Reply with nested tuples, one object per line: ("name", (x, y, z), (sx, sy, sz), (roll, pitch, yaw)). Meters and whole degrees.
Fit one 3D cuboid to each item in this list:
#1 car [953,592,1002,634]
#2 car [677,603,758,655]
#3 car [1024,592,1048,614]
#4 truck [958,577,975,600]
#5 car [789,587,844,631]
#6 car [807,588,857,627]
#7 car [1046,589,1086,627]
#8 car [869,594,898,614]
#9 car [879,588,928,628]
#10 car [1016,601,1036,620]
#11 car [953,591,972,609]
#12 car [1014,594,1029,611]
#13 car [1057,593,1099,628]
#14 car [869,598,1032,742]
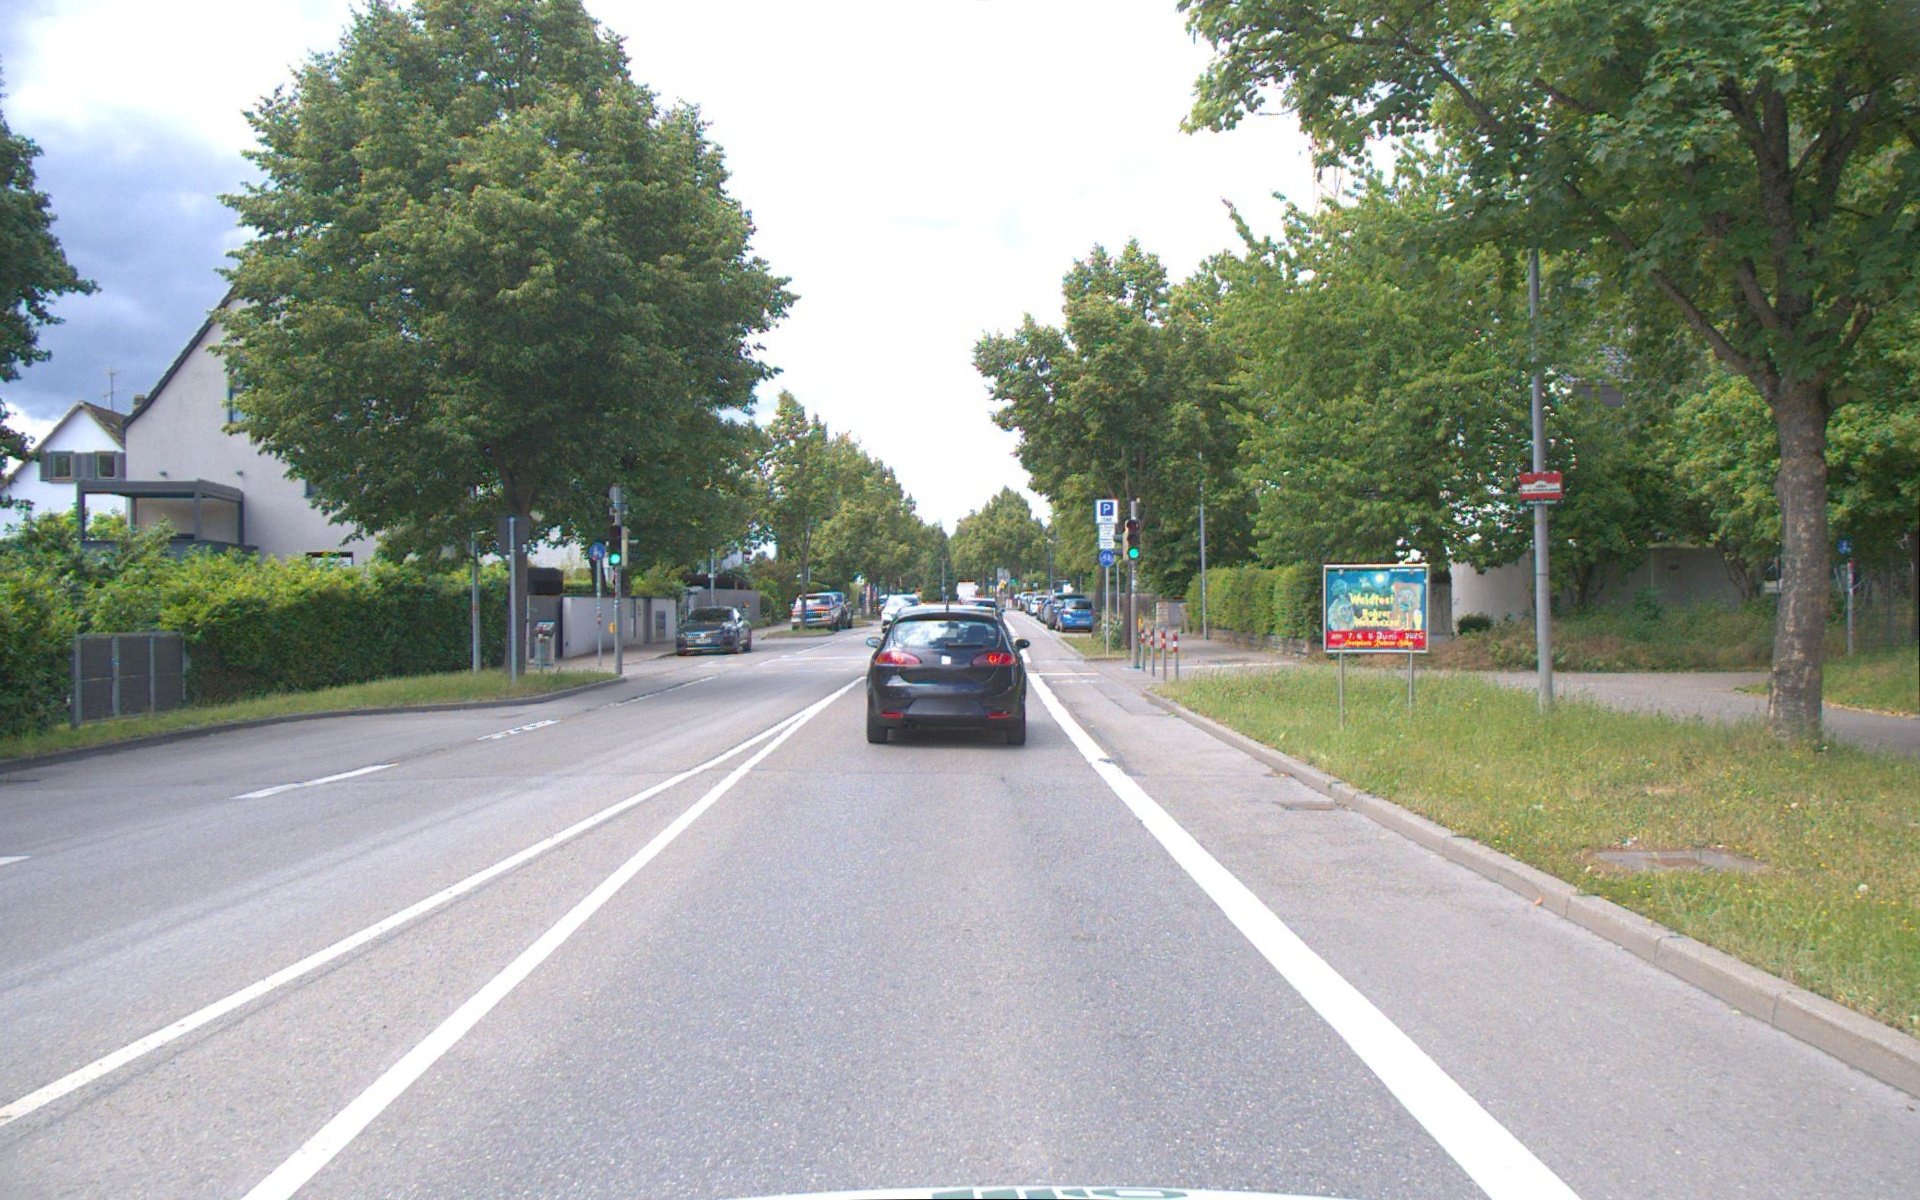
("car", (0.703, 0.487, 64.101), (1.808, 1.536, 3.812), (1, 0, 1))
("car", (-7.394, 0.861, 50.827), (1.683, 1.419, 4.801), (-2, 0, 0))
("car", (5.630, 0.229, 122.930), (1.653, 1.591, 4.214), (-1, 0, 0))
("truck", (0.895, -1.574, 229.112), (2.232, 3.158, 8.510), (1, 0, 0))
("car", (-6.878, 0.403, 79.917), (2.057, 1.929, 5.784), (-2, 0, 0))
("car", (-6.725, 0.365, 87.533), (2.057, 1.929, 5.784), (-2, 0, 0))
("car", (5.066, 0.355, 79.664), (1.653, 1.741, 4.214), (-1, 0, 0))
("car", (-6.348, 0.299, 137.313), (2.057, 1.532, 5.784), (-2, 0, 0))
("car", (-2.512, 0.353, 74.541), (1.836, 1.663, 4.342), (-2, 0, 2))
("car", (5.873, 0.915, 147.469), (1.653, 1.591, 4.214), (-1, 0, 0))
("car", (0.258, 0.007, 165.163), (1.843, 1.718, 4.214), (-1, 0, 0))
("car", (7.080, 0.308, 190.554), (1.653, 1.908, 4.214), (-1, 0, 0))
("car", (5.275, 0.442, 74.383), (1.653, 1.516, 3.355), (-1, 0, 0))
("car", (-0.120, 0.709, 18.601), (1.629, 1.426, 3.811), (1, 0, -1))
